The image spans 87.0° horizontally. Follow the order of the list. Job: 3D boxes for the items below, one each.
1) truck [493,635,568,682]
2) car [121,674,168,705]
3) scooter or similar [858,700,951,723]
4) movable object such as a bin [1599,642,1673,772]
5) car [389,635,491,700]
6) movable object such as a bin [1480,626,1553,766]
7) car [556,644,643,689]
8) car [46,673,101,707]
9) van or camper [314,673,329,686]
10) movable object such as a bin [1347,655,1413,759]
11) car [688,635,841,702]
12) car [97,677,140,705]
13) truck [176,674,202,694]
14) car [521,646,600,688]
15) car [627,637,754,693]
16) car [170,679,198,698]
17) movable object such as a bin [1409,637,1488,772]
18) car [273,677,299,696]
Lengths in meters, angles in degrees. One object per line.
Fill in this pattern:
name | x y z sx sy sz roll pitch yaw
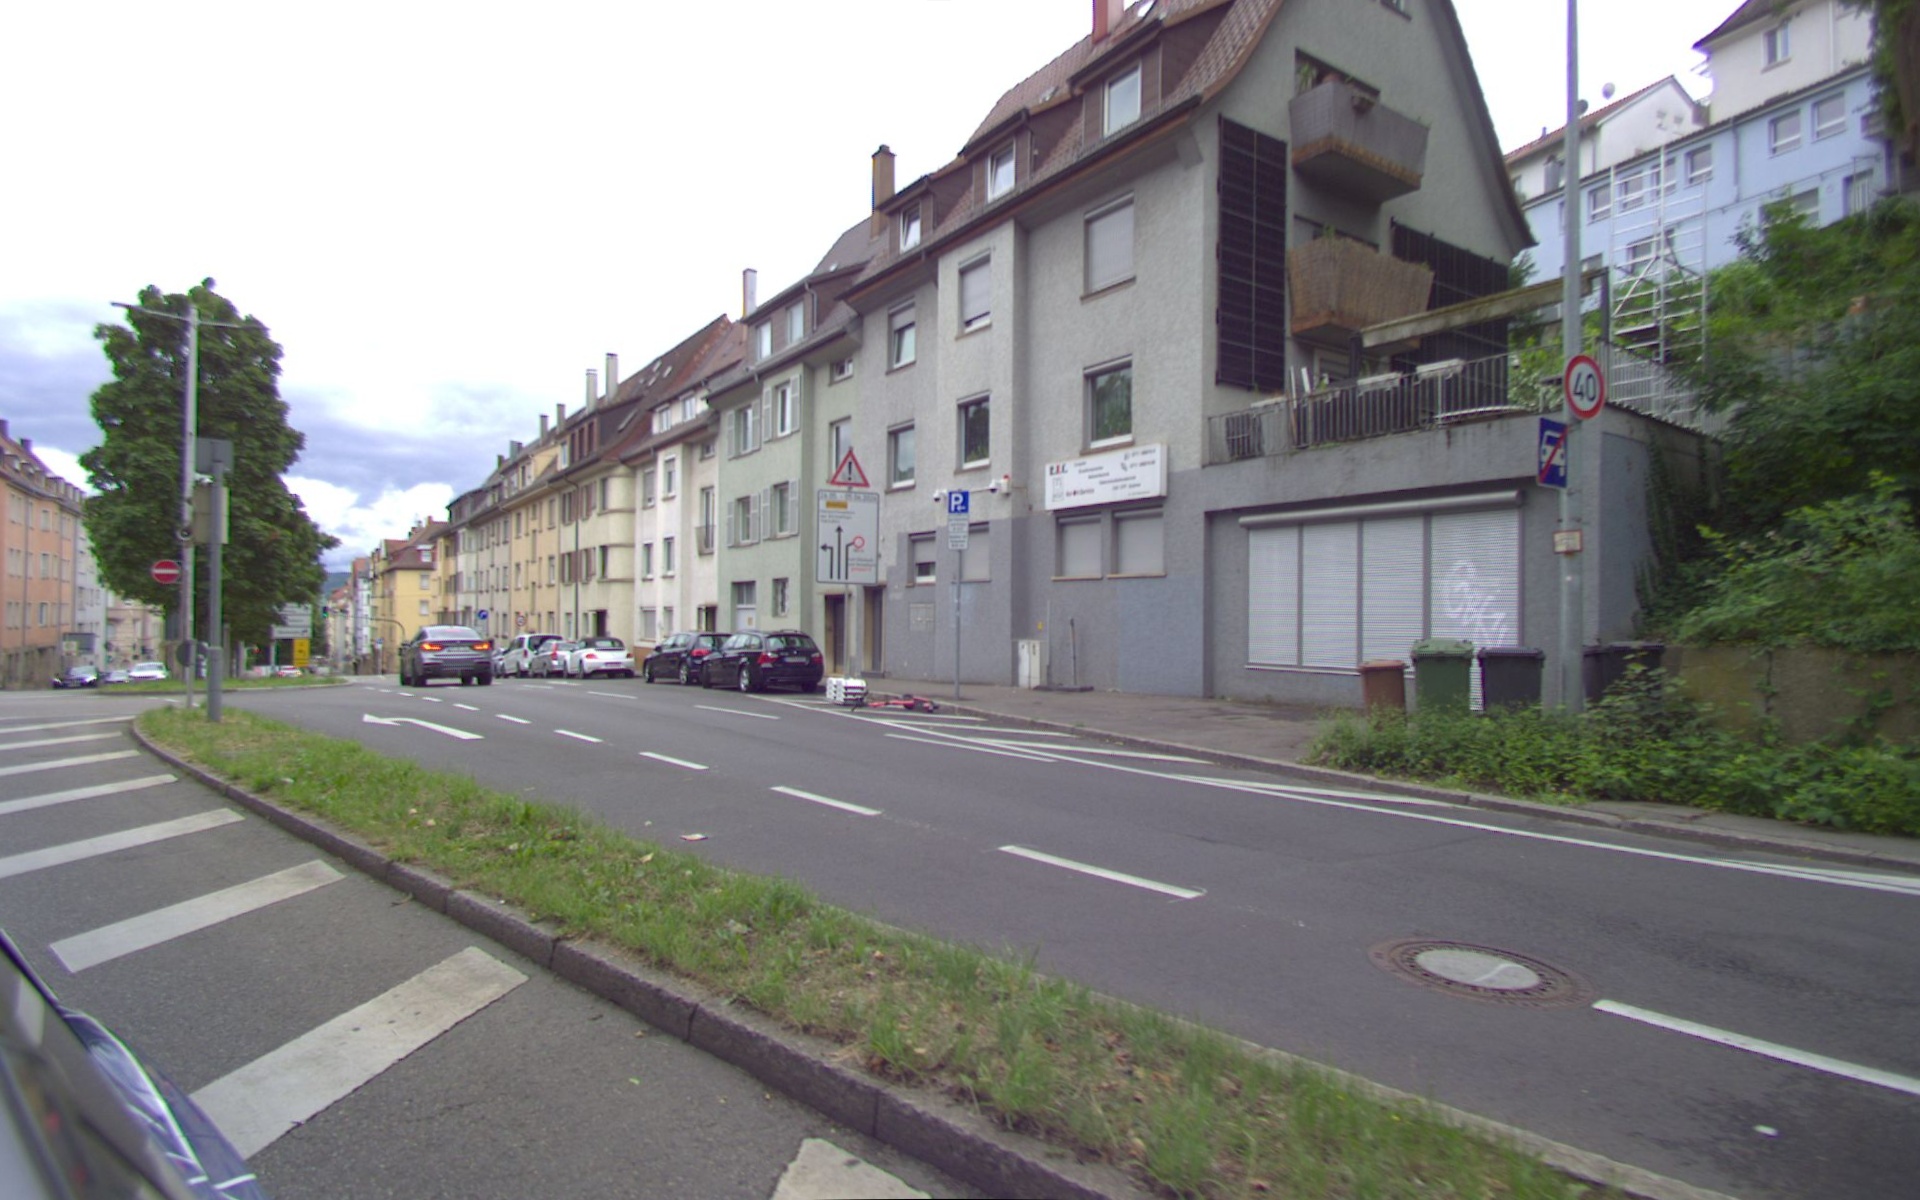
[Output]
truck | -19.152 2.628 44.980 1.967 1.935 5.360 1 -5 -35
car | -44.314 4.845 55.050 1.756 1.605 3.542 4 -5 -36
scooter or similar | -0.918 1.842 16.830 1.098 0.290 1.112 -2 -3 41
movable object such as a bin | 5.794 0.895 8.668 0.430 1.032 0.550 -3 0 40
car | -14.968 1.853 28.998 1.845 1.711 4.947 1 -2 -36
movable object such as a bin | 5.081 0.852 9.229 0.430 1.194 0.575 -3 0 40
car | -12.957 2.388 36.194 1.966 1.486 4.168 1 -4 -34
car | -45.894 4.652 52.443 1.756 1.605 3.542 4 -5 -36
van or camper | -97.273 12.104 154.105 1.882 1.775 4.666 0 -4 -34
movable object such as a bin | 4.213 1.057 10.149 0.444 0.974 0.510 -3 0 40
car | -4.742 1.615 24.045 1.966 1.411 4.529 1 -4 -34
car | -53.647 5.788 64.562 1.756 1.605 3.542 4 -5 -36
truck | -117.121 12.701 153.801 2.511 2.930 7.797 2 -5 -33
car | -15.940 2.686 40.246 1.967 1.564 4.392 1 -5 -35
car | -7.600 1.802 28.313 1.968 1.434 4.220 1 -4 -38
car | -67.769 7.722 88.387 1.756 1.605 3.542 4 -5 -36
movable object such as a bin | 4.642 0.973 9.606 0.492 1.194 0.598 -3 0 40
car | -56.303 7.229 84.524 1.722 1.478 4.597 1 -5 -35
